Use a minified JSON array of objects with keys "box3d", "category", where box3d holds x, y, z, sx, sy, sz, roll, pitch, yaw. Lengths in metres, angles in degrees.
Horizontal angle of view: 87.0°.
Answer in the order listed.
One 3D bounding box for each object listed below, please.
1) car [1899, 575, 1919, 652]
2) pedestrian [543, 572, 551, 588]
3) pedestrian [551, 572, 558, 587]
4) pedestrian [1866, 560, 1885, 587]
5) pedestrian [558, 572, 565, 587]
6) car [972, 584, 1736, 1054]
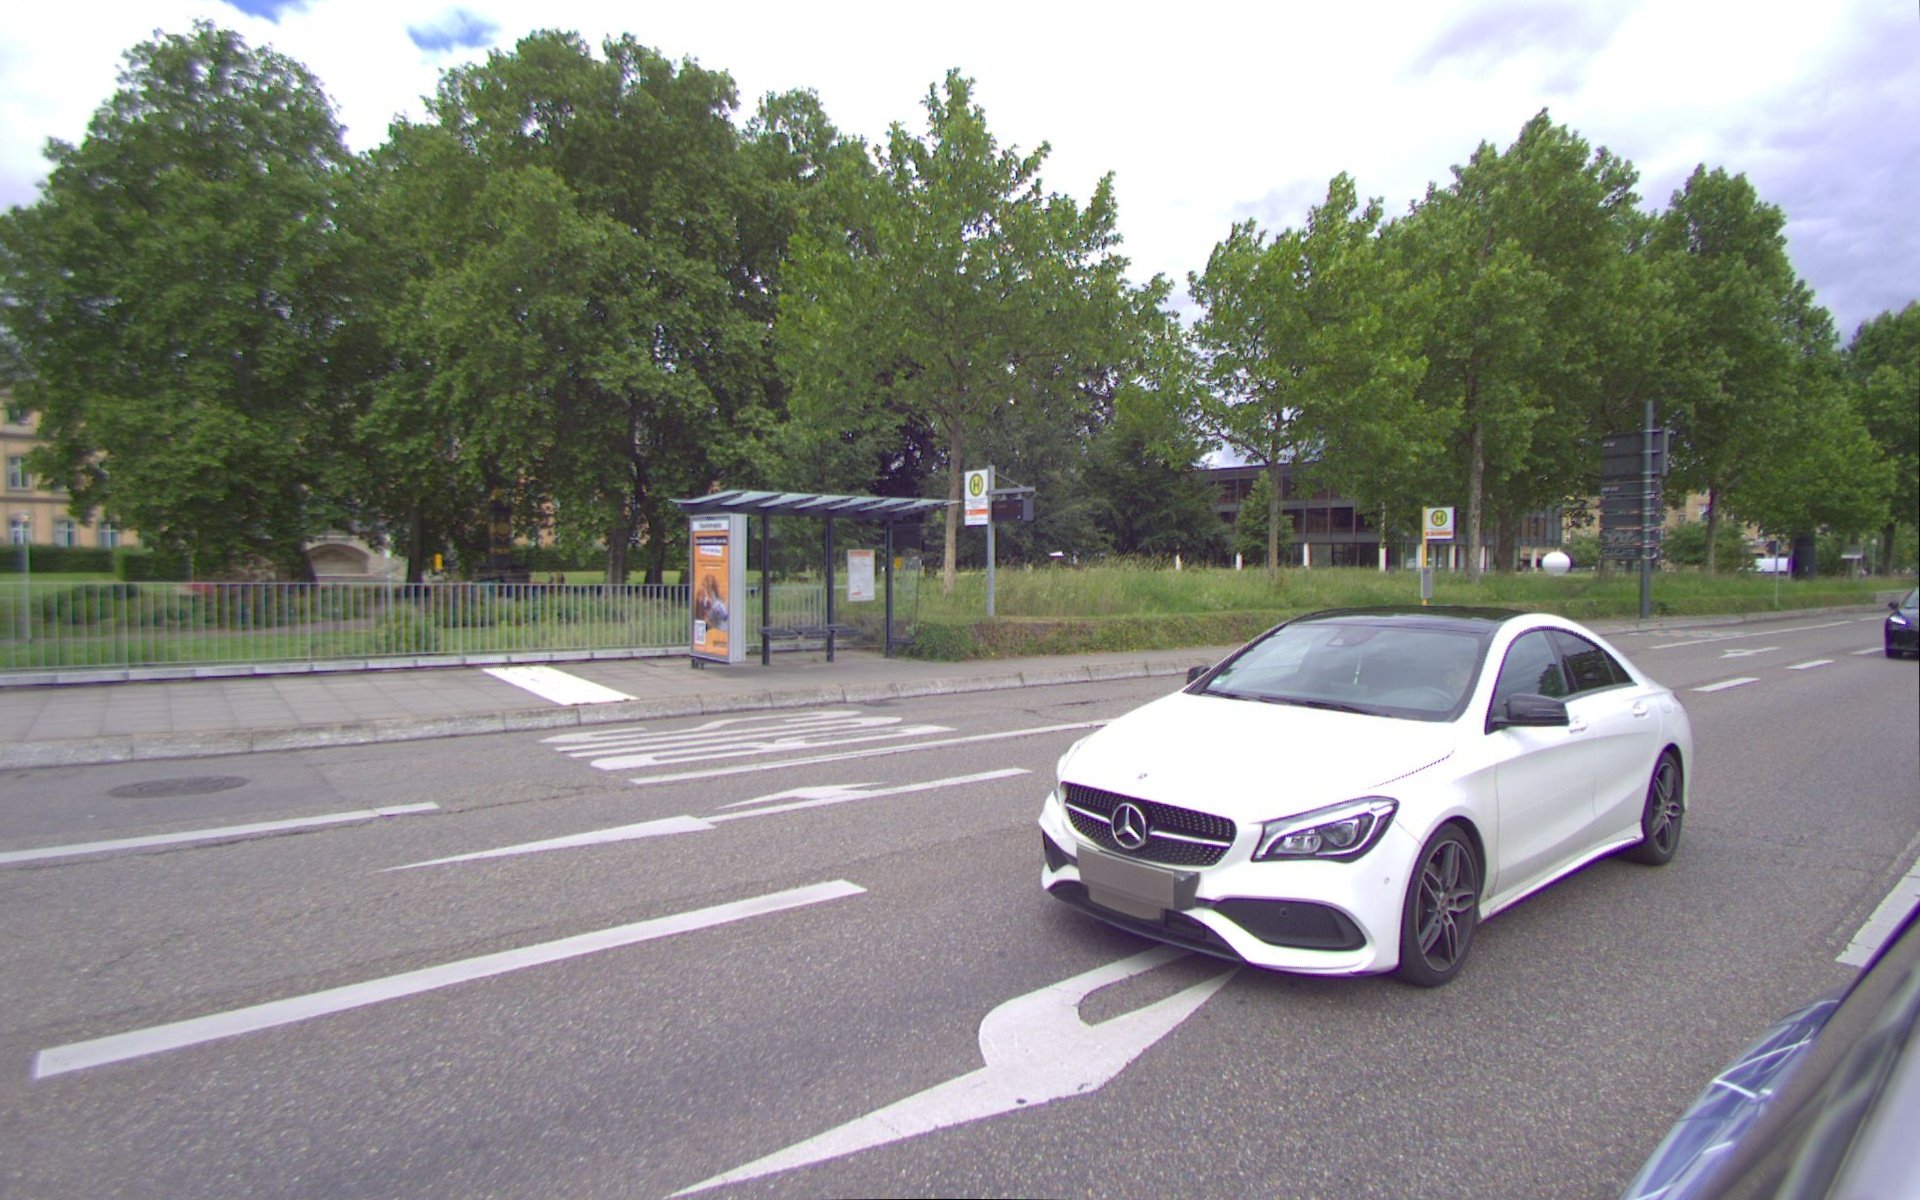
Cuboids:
[{"box3d":[20.871,0.241,20.781,4.020,1.508,1.852,-1,2,-40],"category":"car"},{"box3d":[-36.520,-1.776,89.571,0.401,1.347,0.465,-1,0,21],"category":"pedestrian"},{"box3d":[-35.744,-1.792,89.212,0.401,1.347,0.465,-1,0,21],"category":"pedestrian"},{"box3d":[70.166,-2.053,77.564,1.160,2.039,0.891,-2,0,-40],"category":"pedestrian"},{"box3d":[-34.982,-1.808,88.860,0.401,1.347,0.465,-1,0,21],"category":"pedestrian"},{"box3d":[2.331,0.660,5.311,4.446,1.437,1.799,-1,2,-39],"category":"car"}]
